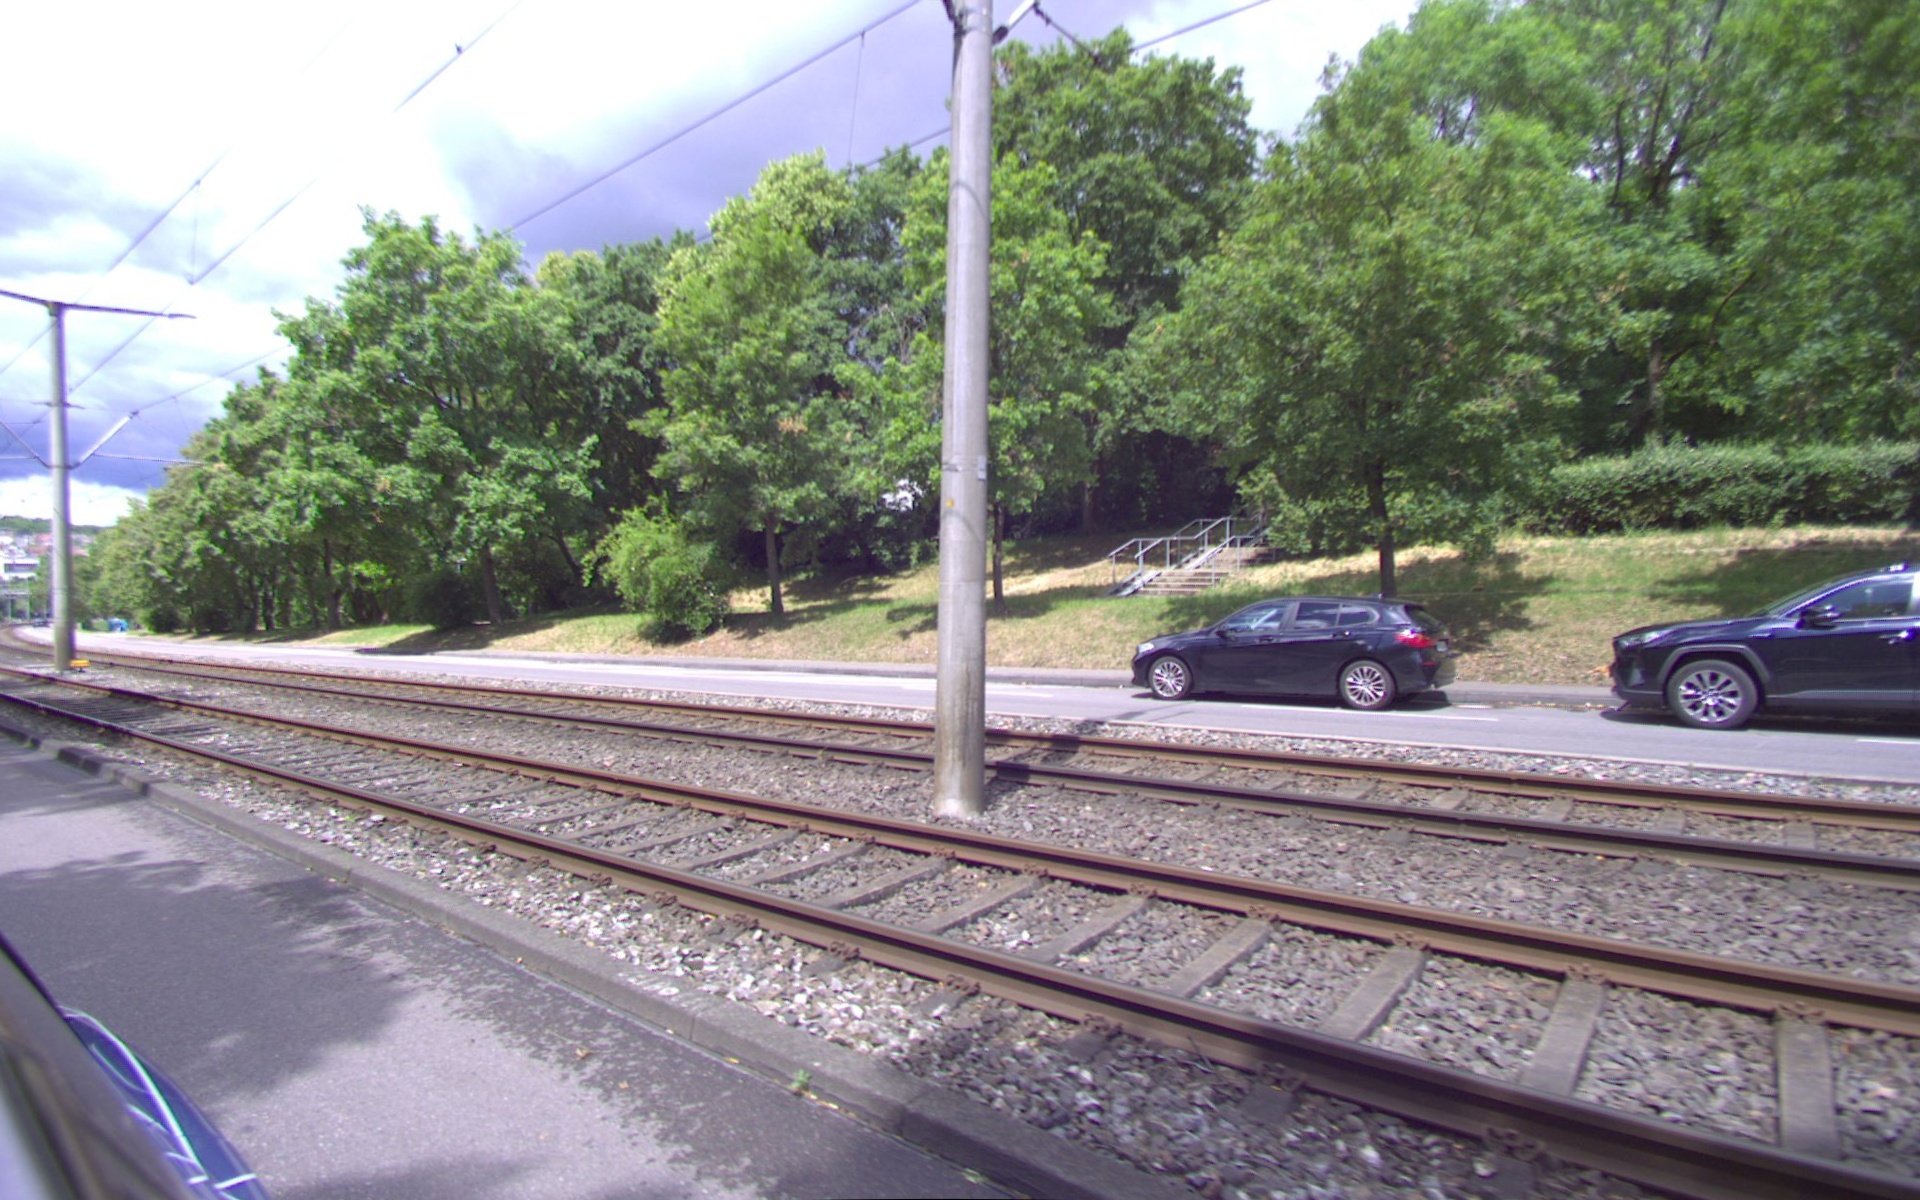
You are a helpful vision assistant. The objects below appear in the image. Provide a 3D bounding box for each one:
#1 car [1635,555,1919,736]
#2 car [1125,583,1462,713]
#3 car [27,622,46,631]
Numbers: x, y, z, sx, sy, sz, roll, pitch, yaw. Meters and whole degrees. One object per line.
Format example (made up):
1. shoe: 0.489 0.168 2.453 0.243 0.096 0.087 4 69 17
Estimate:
1. car: 9.283 0.419 9.870 4.376 1.642 1.757 -1 -1 38
2. car: 4.443 0.590 13.768 3.992 1.510 1.757 -1 0 38
3. car: -141.788 4.132 155.374 4.863 1.402 1.815 -2 -3 44
